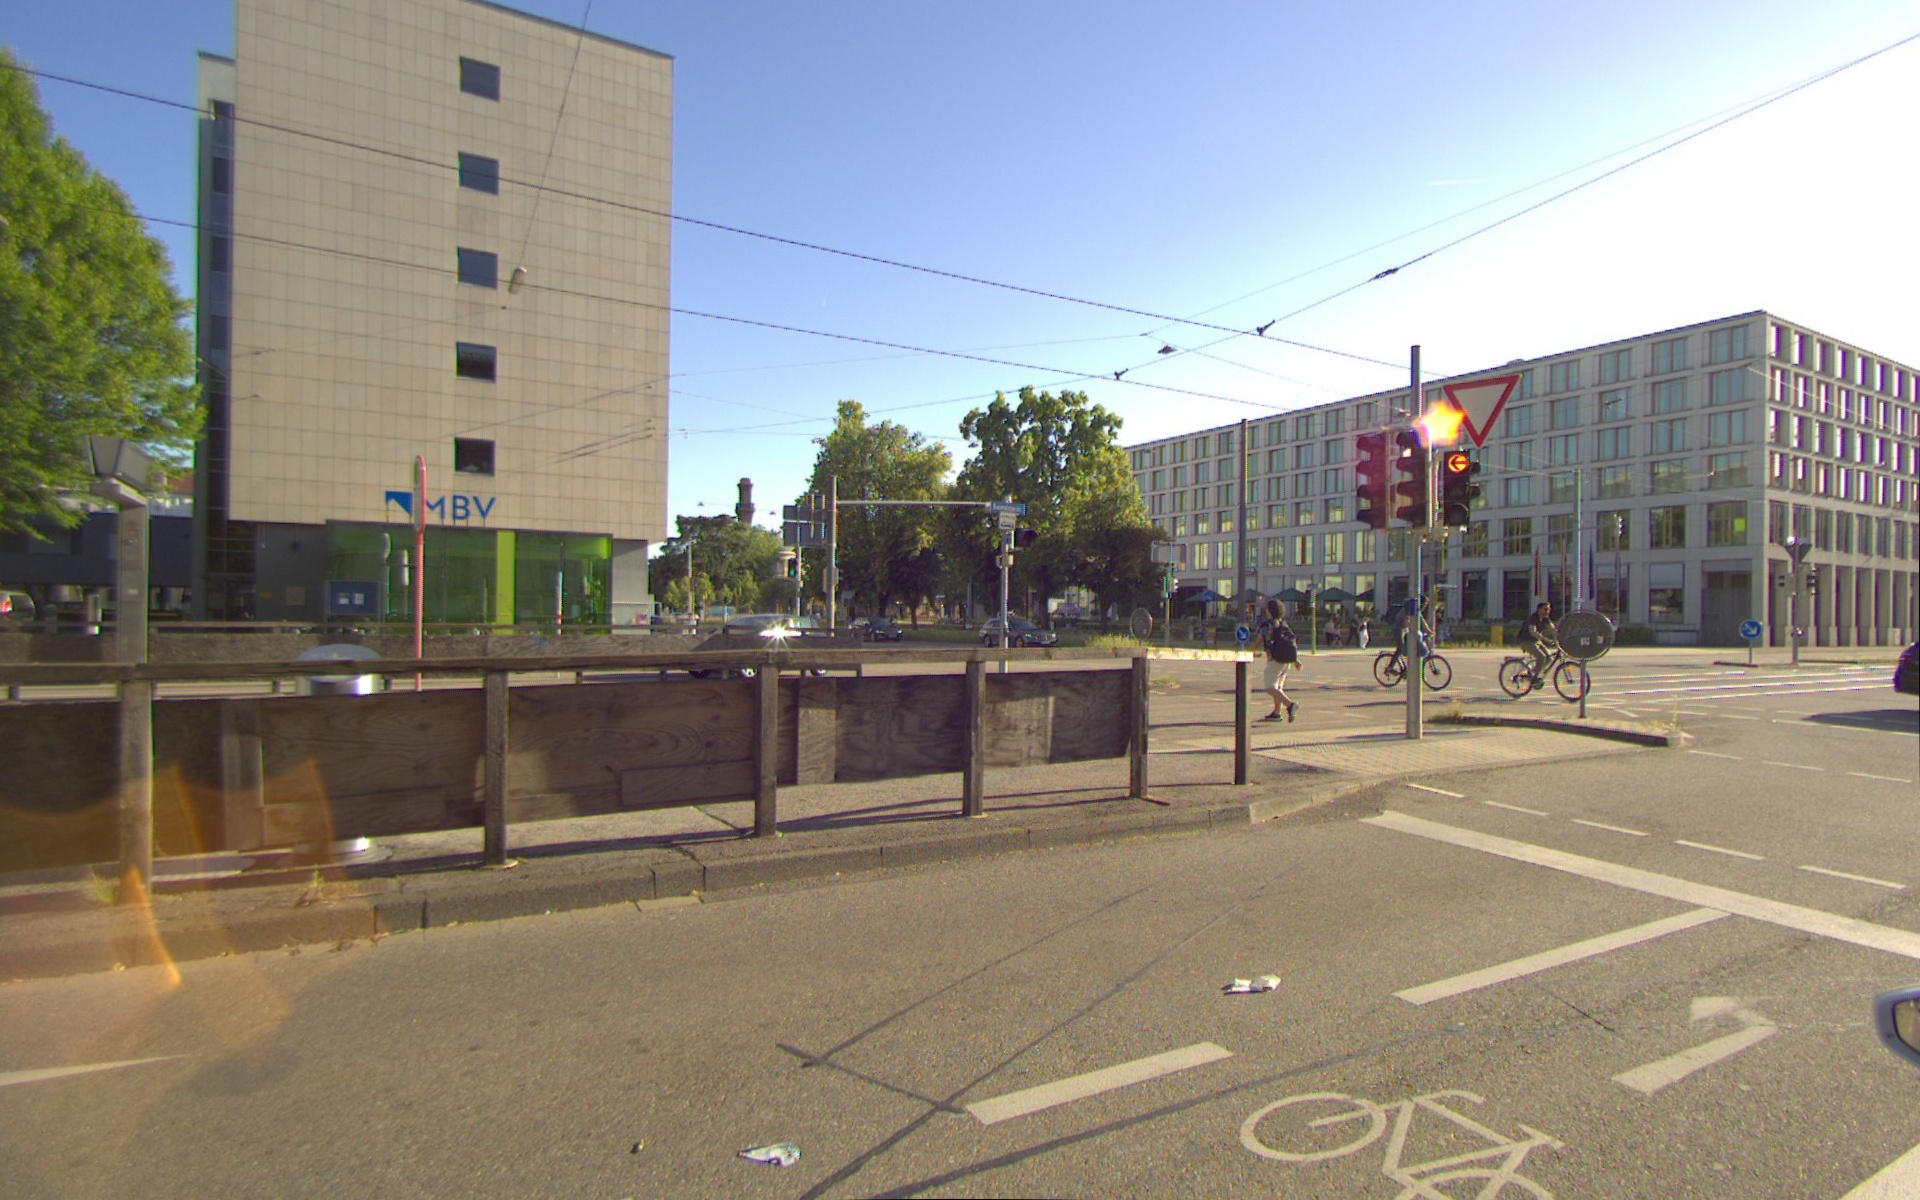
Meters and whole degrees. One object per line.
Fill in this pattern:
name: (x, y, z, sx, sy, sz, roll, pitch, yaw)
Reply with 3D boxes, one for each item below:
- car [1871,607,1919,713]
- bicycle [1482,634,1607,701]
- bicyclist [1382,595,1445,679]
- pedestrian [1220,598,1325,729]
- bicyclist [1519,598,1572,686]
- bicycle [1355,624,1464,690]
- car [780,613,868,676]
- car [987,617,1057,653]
car: (17.215, 0.992, 15.094, 1.910, 1.679, 4.878, 0, 1, -29)
bicycle: (10.794, 1.225, 18.622, 0.779, 1.137, 1.918, 1, -1, -24)
bicyclist: (9.564, 0.771, 21.181, 0.833, 1.717, 0.887, 1, -1, -24)
pedestrian: (4.383, 0.855, 14.093, 1.027, 1.743, 1.030, 1, -1, -41)
bicyclist: (10.844, 0.773, 18.606, 0.586, 1.603, 0.617, 1, -1, -24)
bicycle: (9.476, 1.184, 21.269, 0.874, 1.305, 2.042, 1, -1, -24)
car: (-3.665, 1.166, 27.792, 1.745, 1.615, 4.287, 0, -1, 1)
car: (2.877, 1.611, 47.174, 1.505, 1.526, 3.511, 1, 0, -32)
